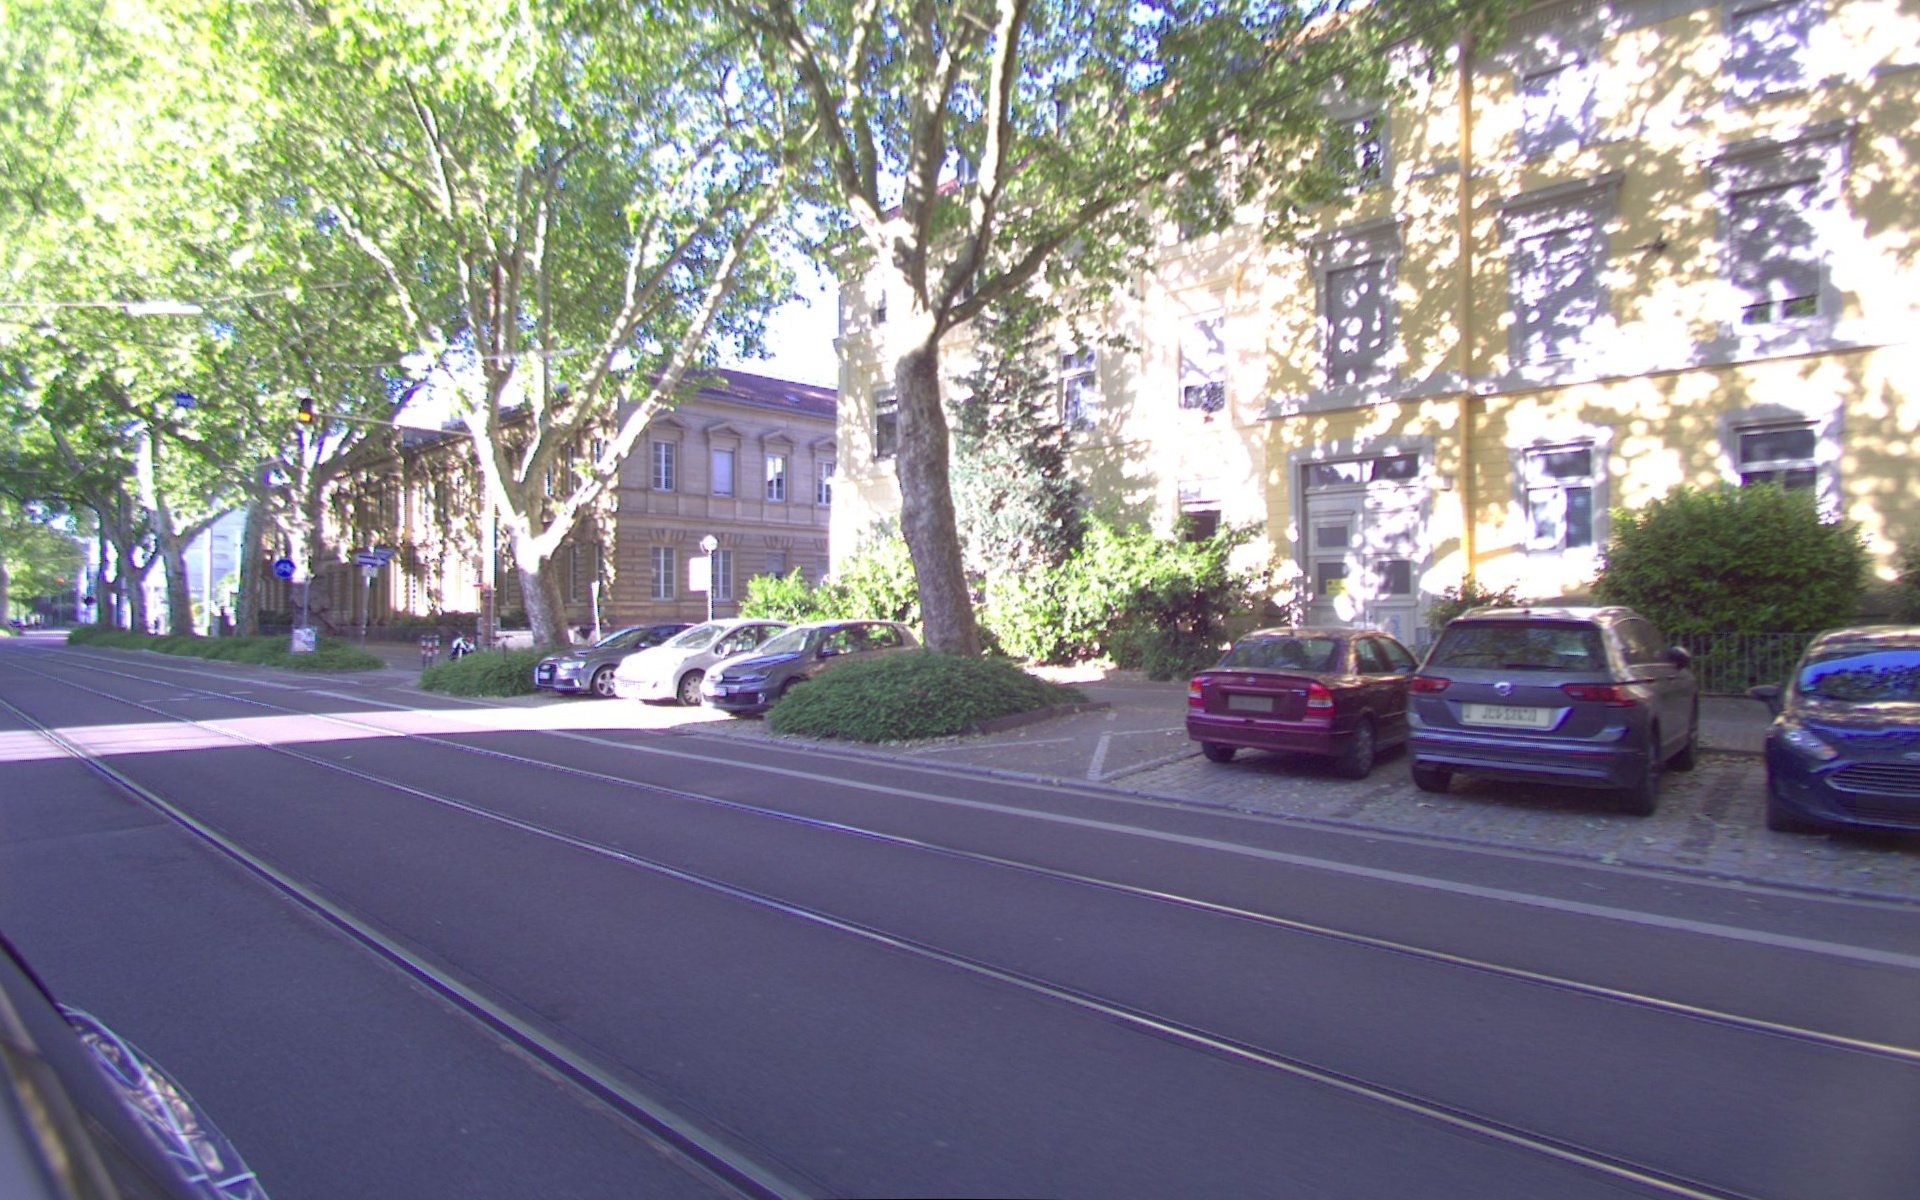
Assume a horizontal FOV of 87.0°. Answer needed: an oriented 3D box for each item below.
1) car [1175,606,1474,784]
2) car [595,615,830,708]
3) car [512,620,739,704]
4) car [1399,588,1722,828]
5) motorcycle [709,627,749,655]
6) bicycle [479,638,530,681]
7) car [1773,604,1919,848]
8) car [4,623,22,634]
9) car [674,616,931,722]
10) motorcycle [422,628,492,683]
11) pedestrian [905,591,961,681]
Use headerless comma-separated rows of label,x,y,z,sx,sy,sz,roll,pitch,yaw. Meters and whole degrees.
car,4.078,0.856,10.964,1.748,1.452,3.879,-1,1,41
car,-4.448,1.039,18.596,1.799,1.464,3.881,-1,-1,41
car,-6.564,1.153,20.161,1.847,1.342,3.879,-1,1,42
car,5.664,0.759,9.309,1.878,1.639,3.953,-1,1,41
motorcycle,-8.820,1.552,38.588,0.710,0.984,1.959,-2,1,-36
bicycle,-10.866,1.404,24.098,0.534,0.948,2.037,0,-1,-41
car,7.440,0.801,7.769,1.817,1.432,3.881,-1,1,39
car,-136.997,4.119,146.390,1.845,1.642,4.563,1,-2,-44
car,-2.454,1.006,16.438,1.805,1.473,3.879,-1,-1,41
motorcycle,-11.605,1.243,23.304,0.873,1.156,2.394,0,-1,-41
pedestrian,-0.573,0.757,21.514,0.835,1.863,0.858,-1,-1,34
